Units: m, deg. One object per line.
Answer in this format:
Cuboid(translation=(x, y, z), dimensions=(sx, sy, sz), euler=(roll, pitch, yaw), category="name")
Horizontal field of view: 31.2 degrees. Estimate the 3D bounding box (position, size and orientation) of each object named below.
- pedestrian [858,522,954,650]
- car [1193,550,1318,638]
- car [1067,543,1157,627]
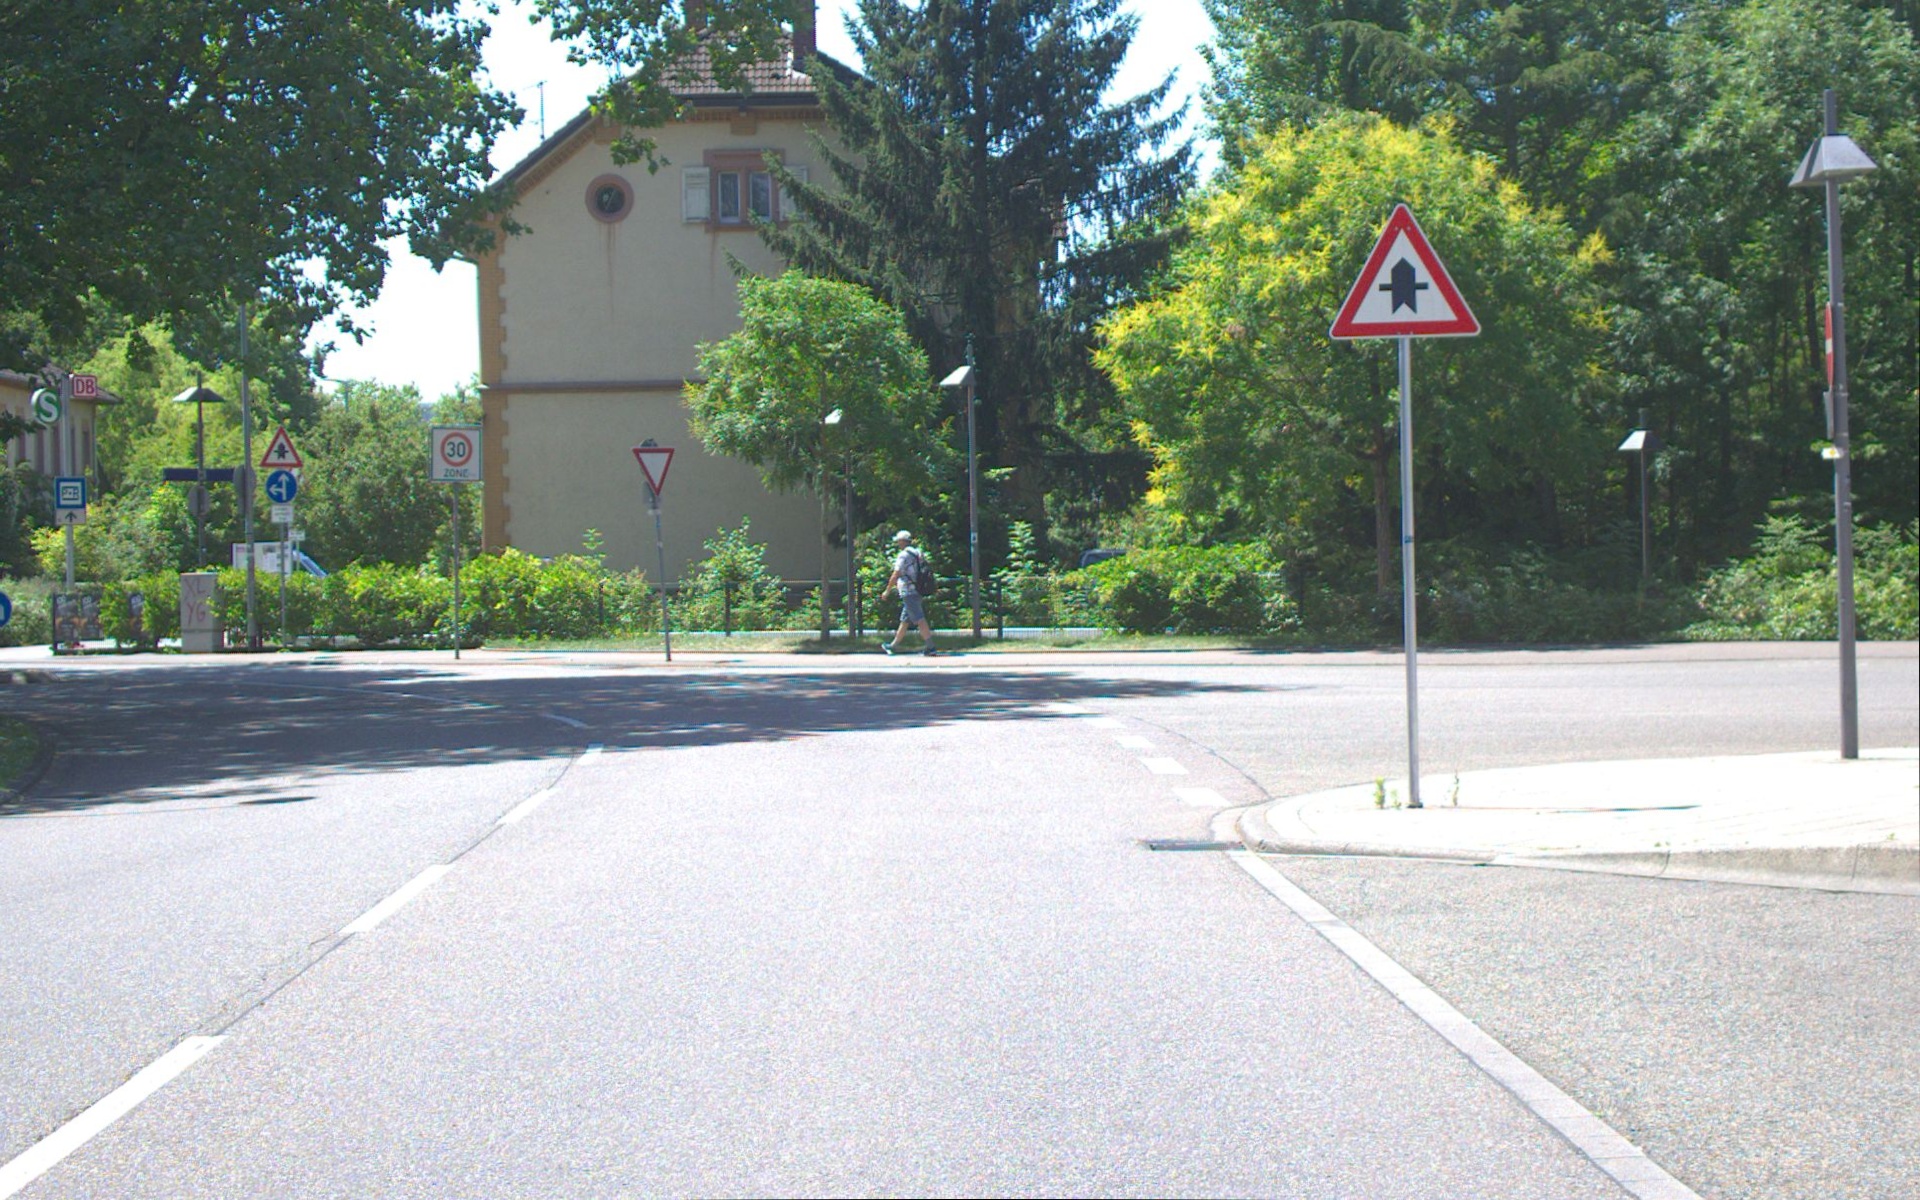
Cuboid(translation=(-0.775, -0.207, 49.308), dimensions=(0.912, 1.765, 0.915), euler=(-6, 4, -40), category="pedestrian")
Cuboid(translation=(5.236, -0.133, 61.412), dimensions=(1.764, 1.494, 4.500), euler=(-1, 1, -1), category="car")
Cuboid(translation=(2.942, -0.302, 65.955), dimensions=(1.650, 1.531, 3.969), euler=(-1, 1, 3), category="car")
